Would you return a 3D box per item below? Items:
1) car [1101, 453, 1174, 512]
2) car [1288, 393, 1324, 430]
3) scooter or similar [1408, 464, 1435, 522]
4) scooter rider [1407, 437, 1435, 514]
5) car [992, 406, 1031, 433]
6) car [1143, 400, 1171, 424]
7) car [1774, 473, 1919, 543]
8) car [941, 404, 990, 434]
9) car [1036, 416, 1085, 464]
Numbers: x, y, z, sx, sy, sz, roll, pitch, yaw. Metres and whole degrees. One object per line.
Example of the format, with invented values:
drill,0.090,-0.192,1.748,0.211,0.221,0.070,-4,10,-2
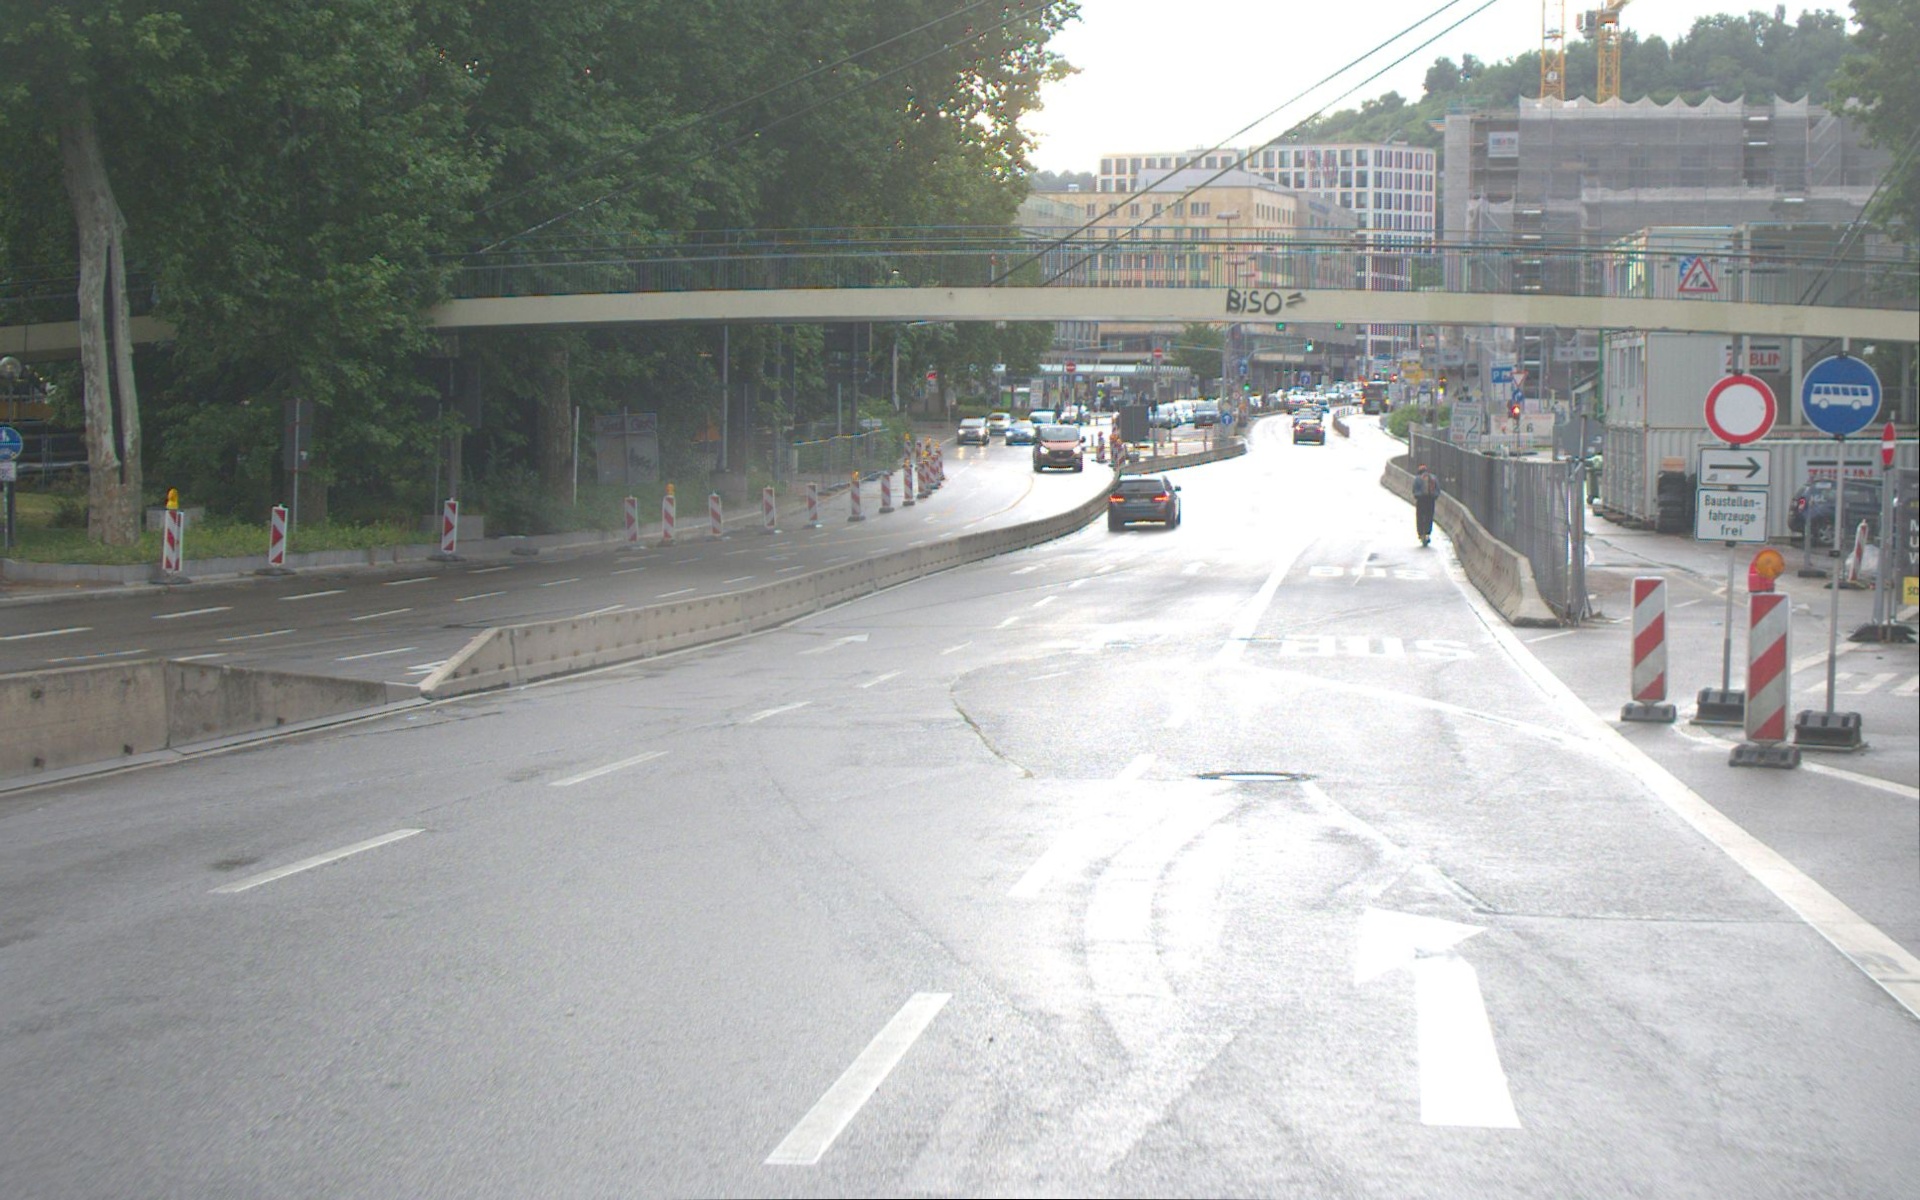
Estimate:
car,4.814,-3.153,92.952,1.902,1.522,4.177,-1,1,3
car,20.167,-10.986,200.313,1.994,2.007,3.999,-1,1,7
scooter or similar,10.940,-2.537,81.511,0.597,1.314,1.667,1,4,8
scooter rider,10.929,-2.951,81.493,0.597,1.779,0.997,1,3,8
car,3.013,-10.653,203.126,1.712,1.334,4.063,-8,3,-5
car,13.856,-13.226,241.940,1.902,1.522,4.177,-1,1,3
car,22.790,-2.302,85.777,4.543,1.623,1.788,1,4,4
car,0.307,-10.735,203.438,2.030,1.647,4.321,-1,4,-12
car,4.392,-7.007,151.076,2.031,1.929,5.044,-1,1,1
